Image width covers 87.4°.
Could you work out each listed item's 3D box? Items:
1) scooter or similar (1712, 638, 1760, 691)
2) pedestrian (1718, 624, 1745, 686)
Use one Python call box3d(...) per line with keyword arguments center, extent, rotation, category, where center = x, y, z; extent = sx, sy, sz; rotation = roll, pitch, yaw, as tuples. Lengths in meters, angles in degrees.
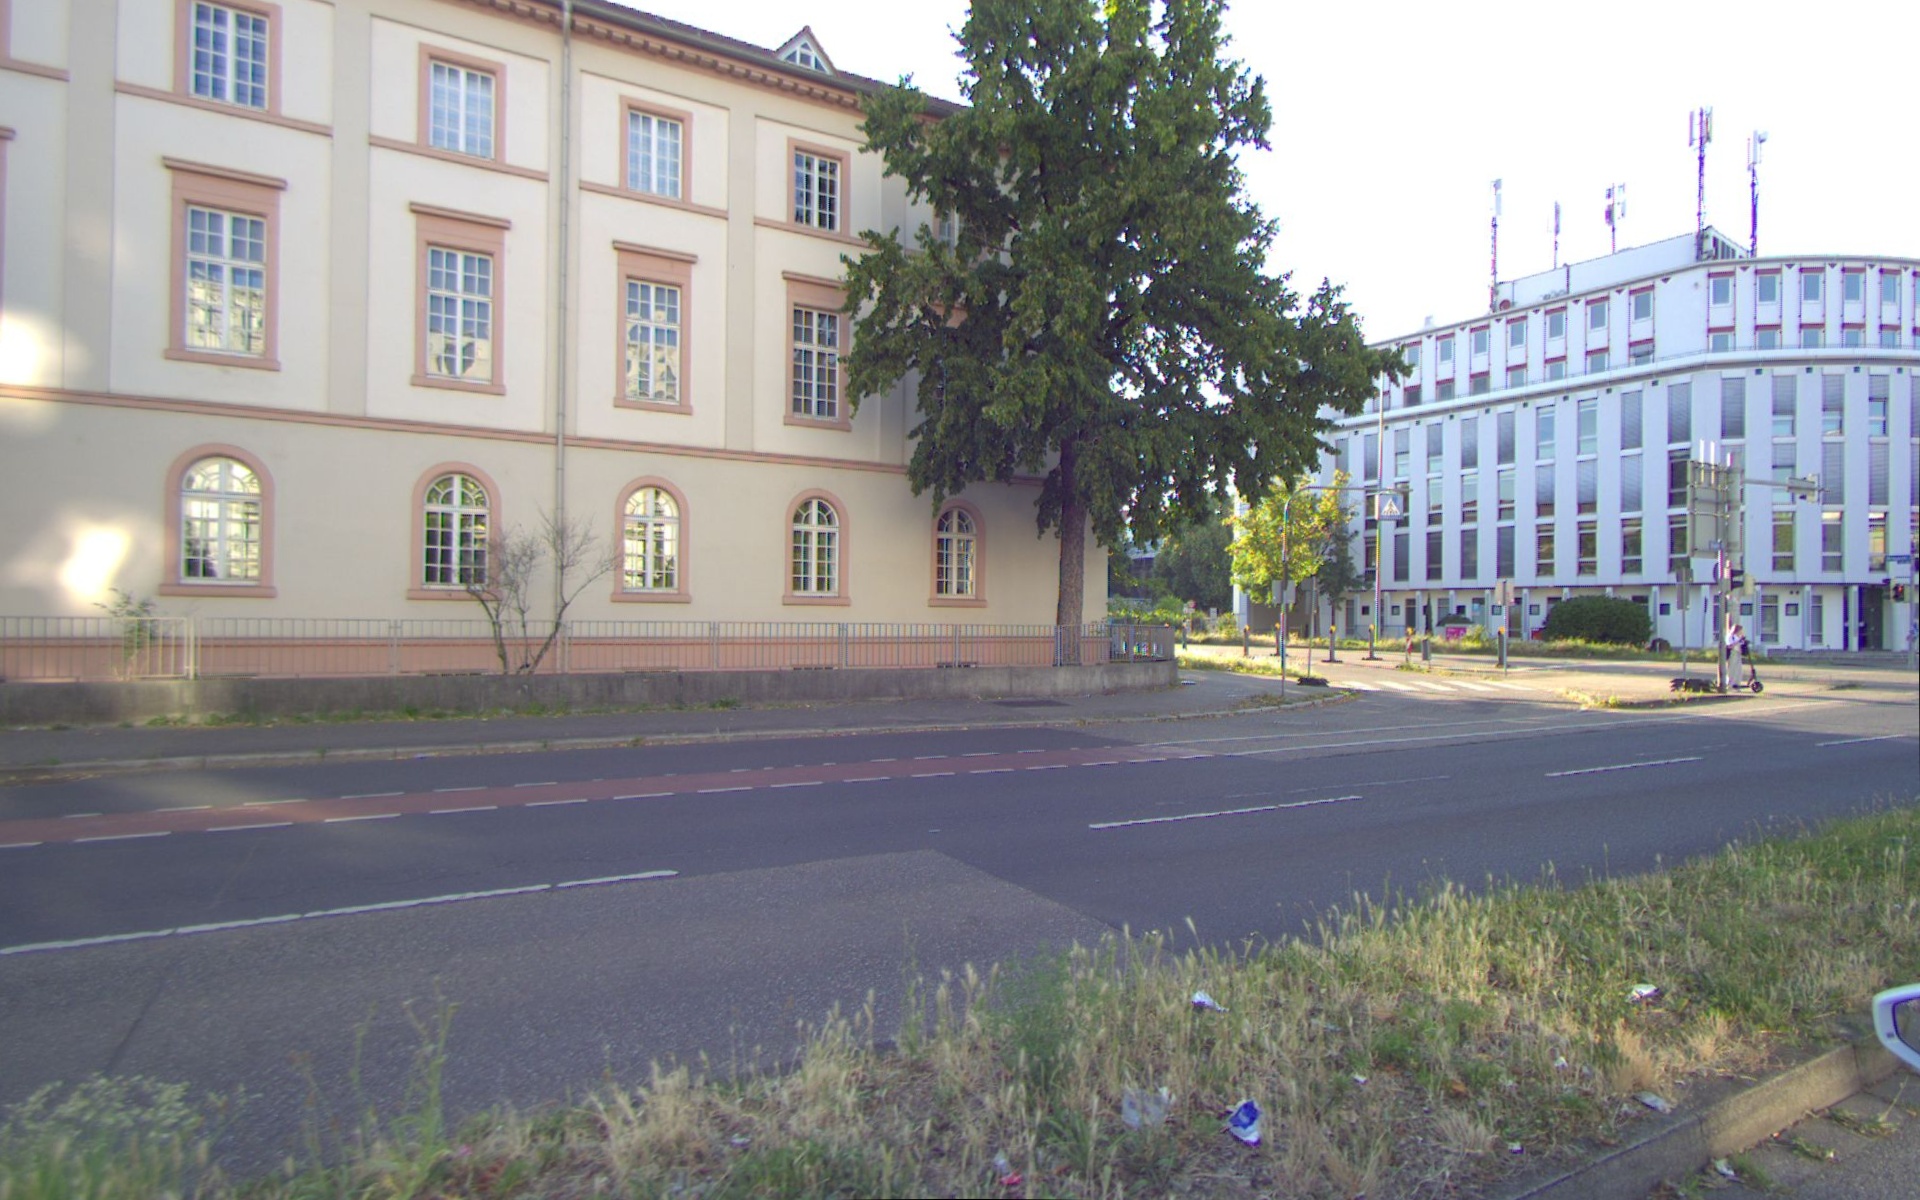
box3d(center=(19.016, 1.579, 24.621), extent=(0.368, 1.250, 0.885), rotation=(1, -1, -40), category="scooter or similar")
box3d(center=(19.009, 1.346, 24.744), extent=(0.332, 1.525, 0.470), rotation=(1, -1, -41), category="pedestrian")
